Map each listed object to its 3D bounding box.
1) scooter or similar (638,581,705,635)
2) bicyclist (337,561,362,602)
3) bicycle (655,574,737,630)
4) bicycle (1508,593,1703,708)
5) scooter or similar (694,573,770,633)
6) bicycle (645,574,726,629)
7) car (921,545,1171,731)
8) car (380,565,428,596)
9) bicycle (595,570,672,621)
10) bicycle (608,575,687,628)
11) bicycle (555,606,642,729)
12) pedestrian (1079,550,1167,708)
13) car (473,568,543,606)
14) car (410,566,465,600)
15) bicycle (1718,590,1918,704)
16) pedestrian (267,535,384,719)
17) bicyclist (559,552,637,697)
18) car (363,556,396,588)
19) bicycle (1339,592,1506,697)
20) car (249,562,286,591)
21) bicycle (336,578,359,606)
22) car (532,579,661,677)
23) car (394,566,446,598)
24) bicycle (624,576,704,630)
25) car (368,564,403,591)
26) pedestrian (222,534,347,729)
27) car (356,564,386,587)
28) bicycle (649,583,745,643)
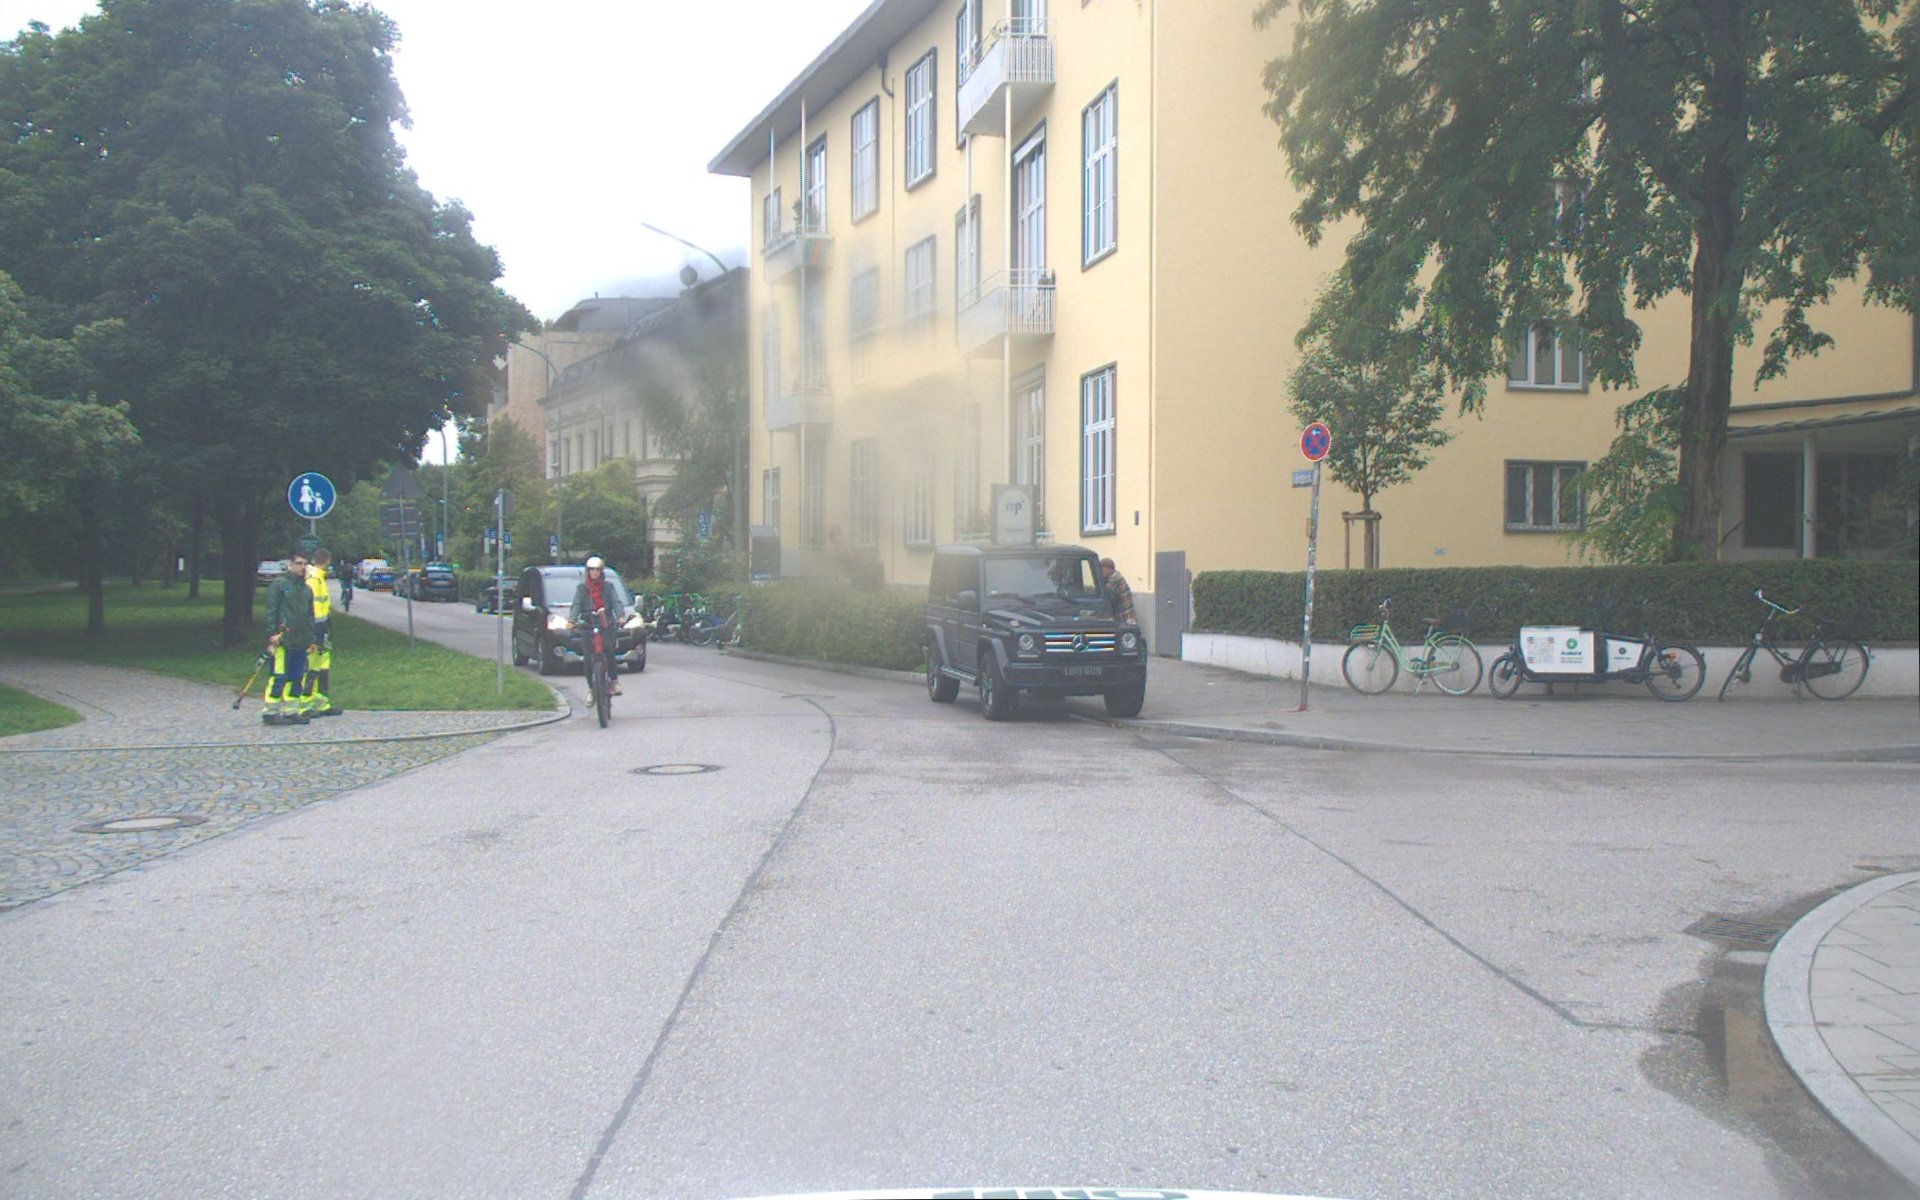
[{"bbox_3d":[-7.261,0.188,41.708,0.719,1.328,1.727,0,1,31],"label":"scooter or similar"},{"bbox_3d":[-22.389,-0.695,60.620,0.785,1.496,0.886,0,1,-25],"label":"bicyclist"},{"bbox_3d":[-6.439,0.038,40.480,0.719,1.328,2.149,1,1,34],"label":"bicycle"},{"bbox_3d":[7.283,0.548,18.719,2.025,1.222,0.595,1,1,22],"label":"bicycle"},{"bbox_3d":[-5.153,0.047,37.476,0.717,1.328,2.156,0,1,23],"label":"scooter or similar"},{"bbox_3d":[-6.848,0.011,41.329,0.719,1.328,2.149,1,1,34],"label":"bicycle"},{"bbox_3d":[0.888,0.357,19.855,1.732,1.906,4.364,4,1,-14],"label":"car"},{"bbox_3d":[-30.815,-1.091,91.574,1.970,1.634,3.965,-1,1,-27],"label":"car"},{"bbox_3d":[-8.812,-0.133,44.694,0.719,1.328,2.149,1,1,34],"label":"bicycle"},{"bbox_3d":[-8.099,0.015,42.959,0.719,1.328,2.149,1,1,34],"label":"bicycle"},{"bbox_3d":[-3.998,0.713,18.447,0.729,1.236,2.141,-1,1,-7],"label":"bicycle"},{"bbox_3d":[1.954,0.329,19.915,0.859,1.855,0.796,0,1,-13],"label":"pedestrian"},{"bbox_3d":[-17.485,-0.519,63.849,1.969,1.396,3.968,-1,1,-25],"label":"car"},{"bbox_3d":[-25.789,-0.841,81.575,1.970,1.634,3.965,-1,1,-27],"label":"car"},{"bbox_3d":[9.512,0.507,18.378,1.881,1.222,0.595,0,1,3],"label":"bicycle"},{"bbox_3d":[-7.232,0.290,18.898,0.912,2.049,0.957,0,1,3],"label":"pedestrian"},{"bbox_3d":[-3.979,0.251,18.244,0.729,1.547,0.944,-1,1,-7],"label":"bicyclist"},{"bbox_3d":[-40.039,-1.928,114.091,1.962,2.197,3.980,-1,1,-18],"label":"car"},{"bbox_3d":[5.610,0.543,20.154,0.591,1.222,1.896,-1,-1,-45],"label":"bicycle"},{"bbox_3d":[-43.020,-1.454,102.735,1.969,1.720,3.968,-1,1,-25],"label":"car"},{"bbox_3d":[-22.418,-0.298,60.543,0.631,0.984,1.980,0,1,-25],"label":"bicycle"},{"bbox_3d":[-6.280,0.418,28.289,1.884,1.496,3.982,0,1,-17],"label":"car"},{"bbox_3d":[-28.292,-0.966,86.577,1.970,1.634,3.965,-1,1,-27],"label":"car"},{"bbox_3d":[-7.560,0.057,42.273,0.719,1.328,2.149,1,1,34],"label":"bicycle"},{"bbox_3d":[-36.674,-1.437,105.586,1.962,1.634,3.980,-1,1,-18],"label":"car"},{"bbox_3d":[-7.301,0.324,17.926,0.912,2.049,0.957,0,1,3],"label":"pedestrian"},{"bbox_3d":[-44.377,-1.848,124.679,1.962,1.634,3.980,-1,1,-18],"label":"car"},{"bbox_3d":[-6.100,0.286,38.379,2.134,1.328,0.724,-1,1,-39],"label":"bicycle"}]
